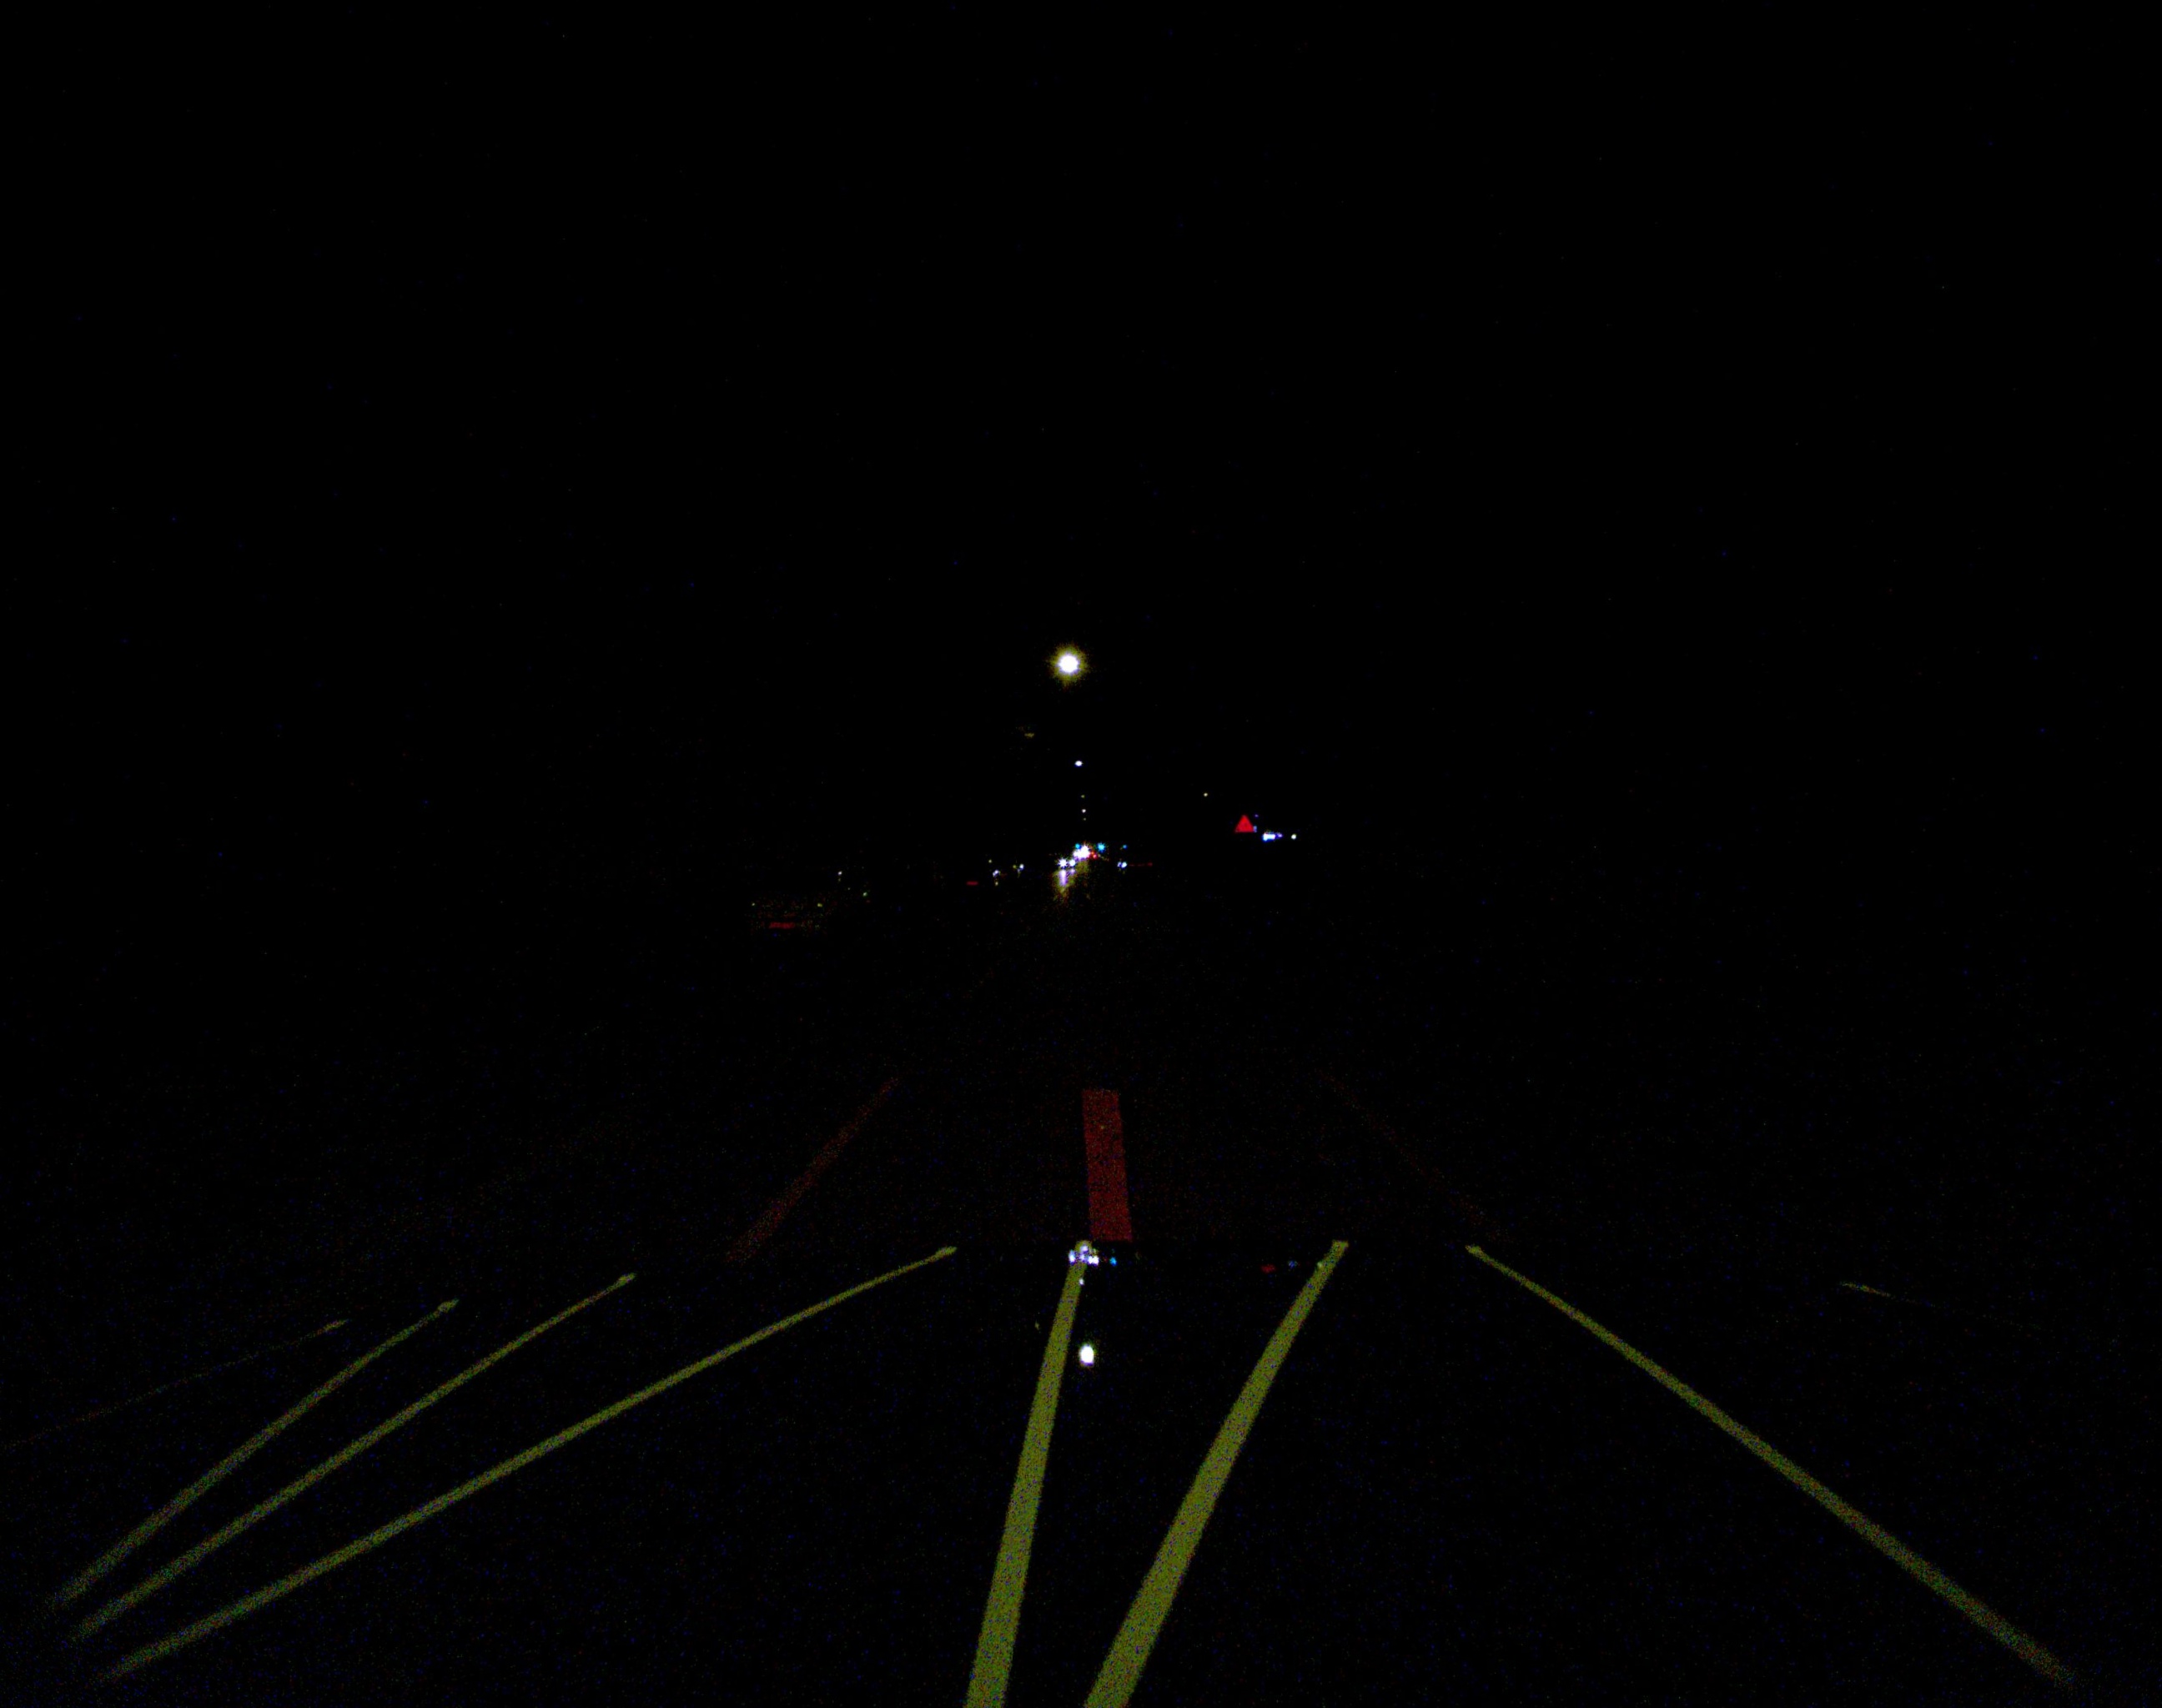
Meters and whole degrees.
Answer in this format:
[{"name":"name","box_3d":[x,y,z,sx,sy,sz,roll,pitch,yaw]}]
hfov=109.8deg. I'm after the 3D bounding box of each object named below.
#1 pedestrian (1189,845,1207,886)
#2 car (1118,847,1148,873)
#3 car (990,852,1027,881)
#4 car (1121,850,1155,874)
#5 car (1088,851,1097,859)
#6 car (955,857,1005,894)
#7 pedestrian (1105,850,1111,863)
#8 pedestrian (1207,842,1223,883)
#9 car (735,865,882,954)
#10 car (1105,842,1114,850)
[{"name":"pedestrian","box_3d":[5.047,0.489,32.815,0.673,1.750,0.500,-2,1,1]},{"name":"car","box_3d":[3.867,0.408,56.915,1.998,1.772,3.999,-2,1,1]},{"name":"car","box_3d":[-4.458,0.750,47.475,1.852,1.643,4.179,-2,0,0]},{"name":"car","box_3d":[3.892,0.513,52.076,1.998,1.477,3.999,-3,1,1]},{"name":"car","box_3d":[2.439,0.140,156.953,1.754,1.433,3.487,-2,-2,1]},{"name":"car","box_3d":[-4.467,0.904,33.943,1.742,1.489,3.890,-1,0,-1]},{"name":"pedestrian","box_3d":[4.252,0.353,118.121,0.804,2.002,0.940,-2,1,1]},{"name":"pedestrian","box_3d":[5.832,0.372,33.092,0.565,1.750,0.500,-2,1,1]},{"name":"car","box_3d":[-5.235,1.007,15.061,1.611,1.500,3.486,0,0,1]},{"name":"car","box_3d":[5.783,-1.637,153.868,1.903,1.581,3.661,-2,1,2]}]
